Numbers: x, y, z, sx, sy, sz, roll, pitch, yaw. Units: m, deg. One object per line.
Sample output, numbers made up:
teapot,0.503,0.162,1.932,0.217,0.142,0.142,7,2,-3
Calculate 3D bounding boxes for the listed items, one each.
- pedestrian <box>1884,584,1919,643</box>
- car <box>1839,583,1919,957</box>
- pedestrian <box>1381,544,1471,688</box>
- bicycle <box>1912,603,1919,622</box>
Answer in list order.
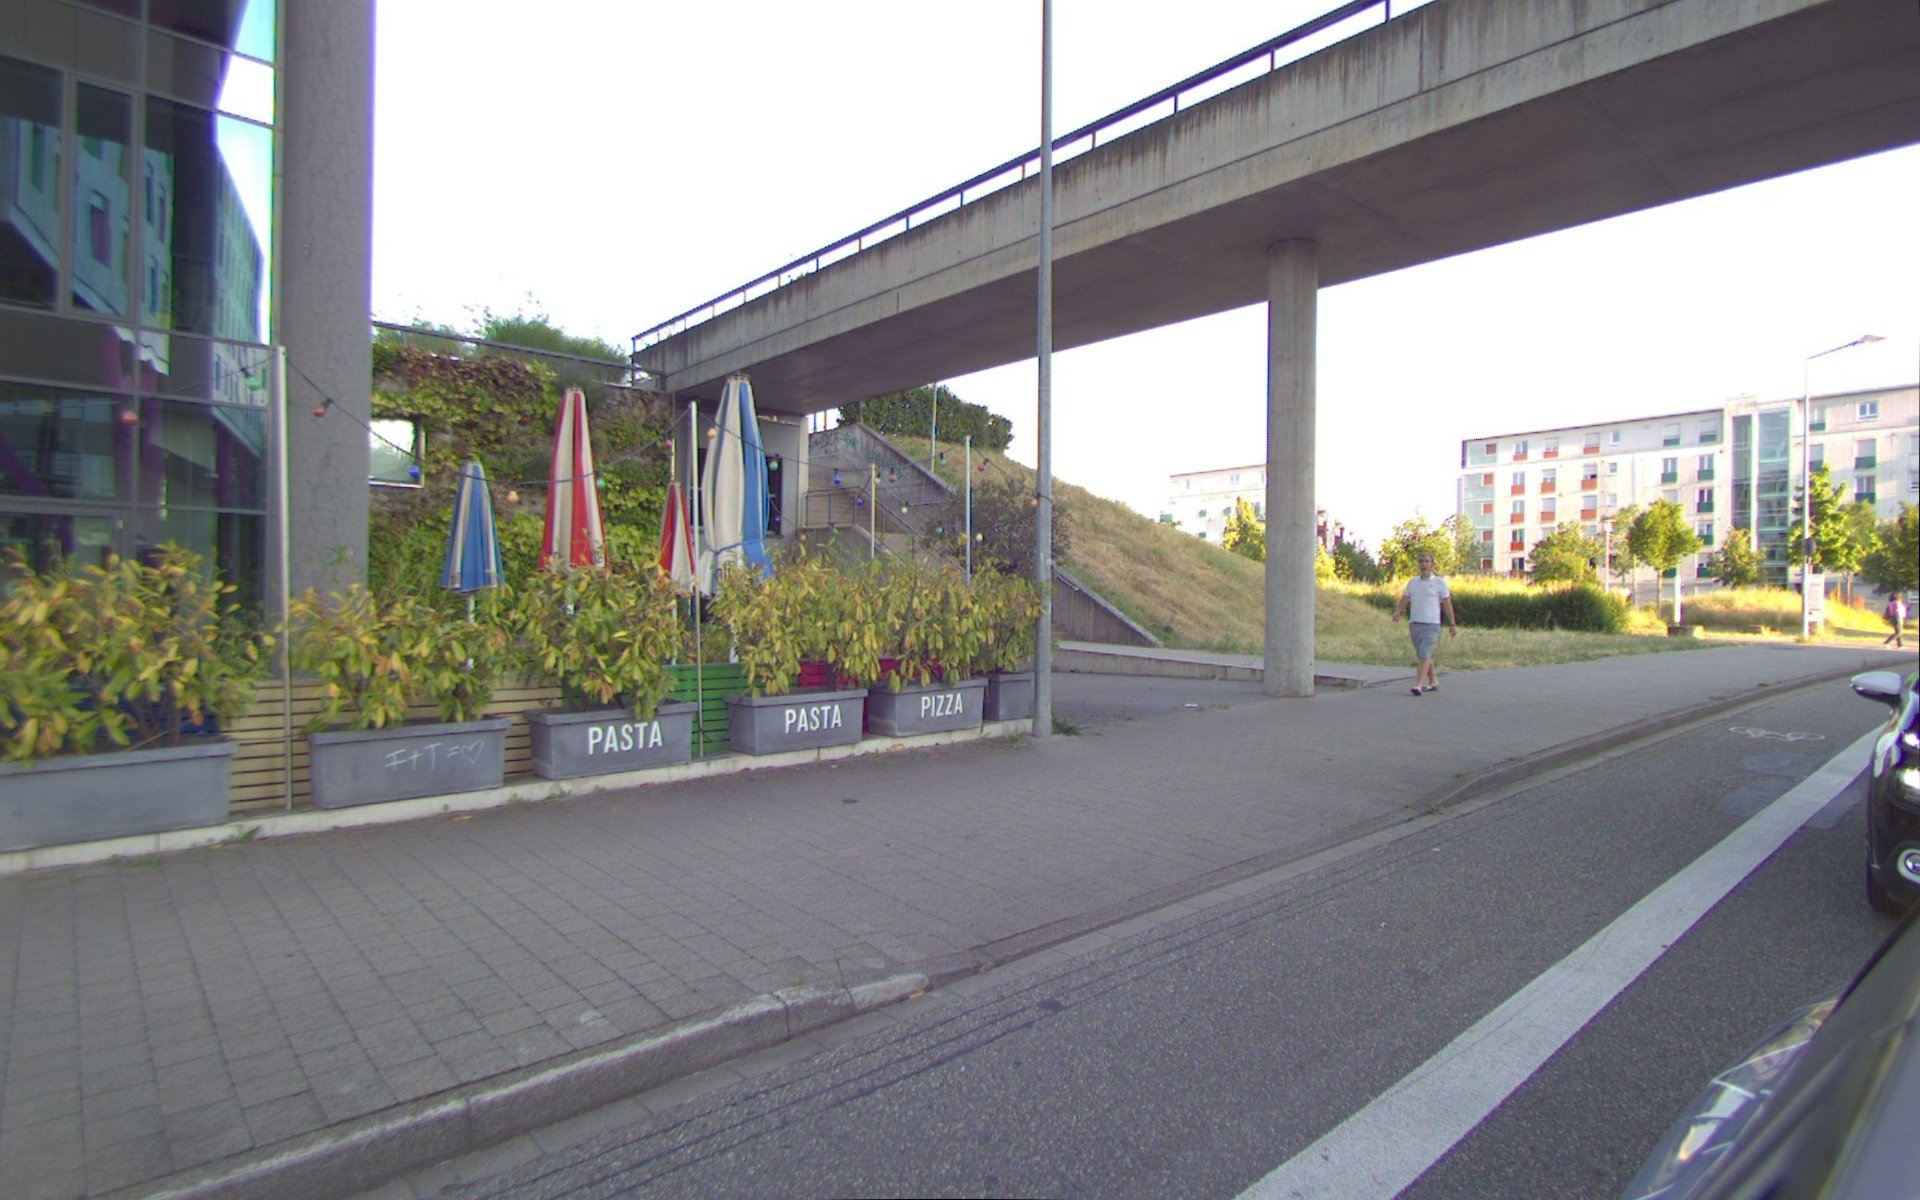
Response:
pedestrian,27.467,0.388,29.412,0.844,1.649,0.737,1,2,-40
car,5.699,0.685,4.823,3.930,1.482,1.738,0,0,-41
pedestrian,5.907,0.195,12.818,0.890,1.746,0.736,1,-1,-40
bicycle,61.822,0.817,63.501,0.883,1.163,3.497,0,0,1
